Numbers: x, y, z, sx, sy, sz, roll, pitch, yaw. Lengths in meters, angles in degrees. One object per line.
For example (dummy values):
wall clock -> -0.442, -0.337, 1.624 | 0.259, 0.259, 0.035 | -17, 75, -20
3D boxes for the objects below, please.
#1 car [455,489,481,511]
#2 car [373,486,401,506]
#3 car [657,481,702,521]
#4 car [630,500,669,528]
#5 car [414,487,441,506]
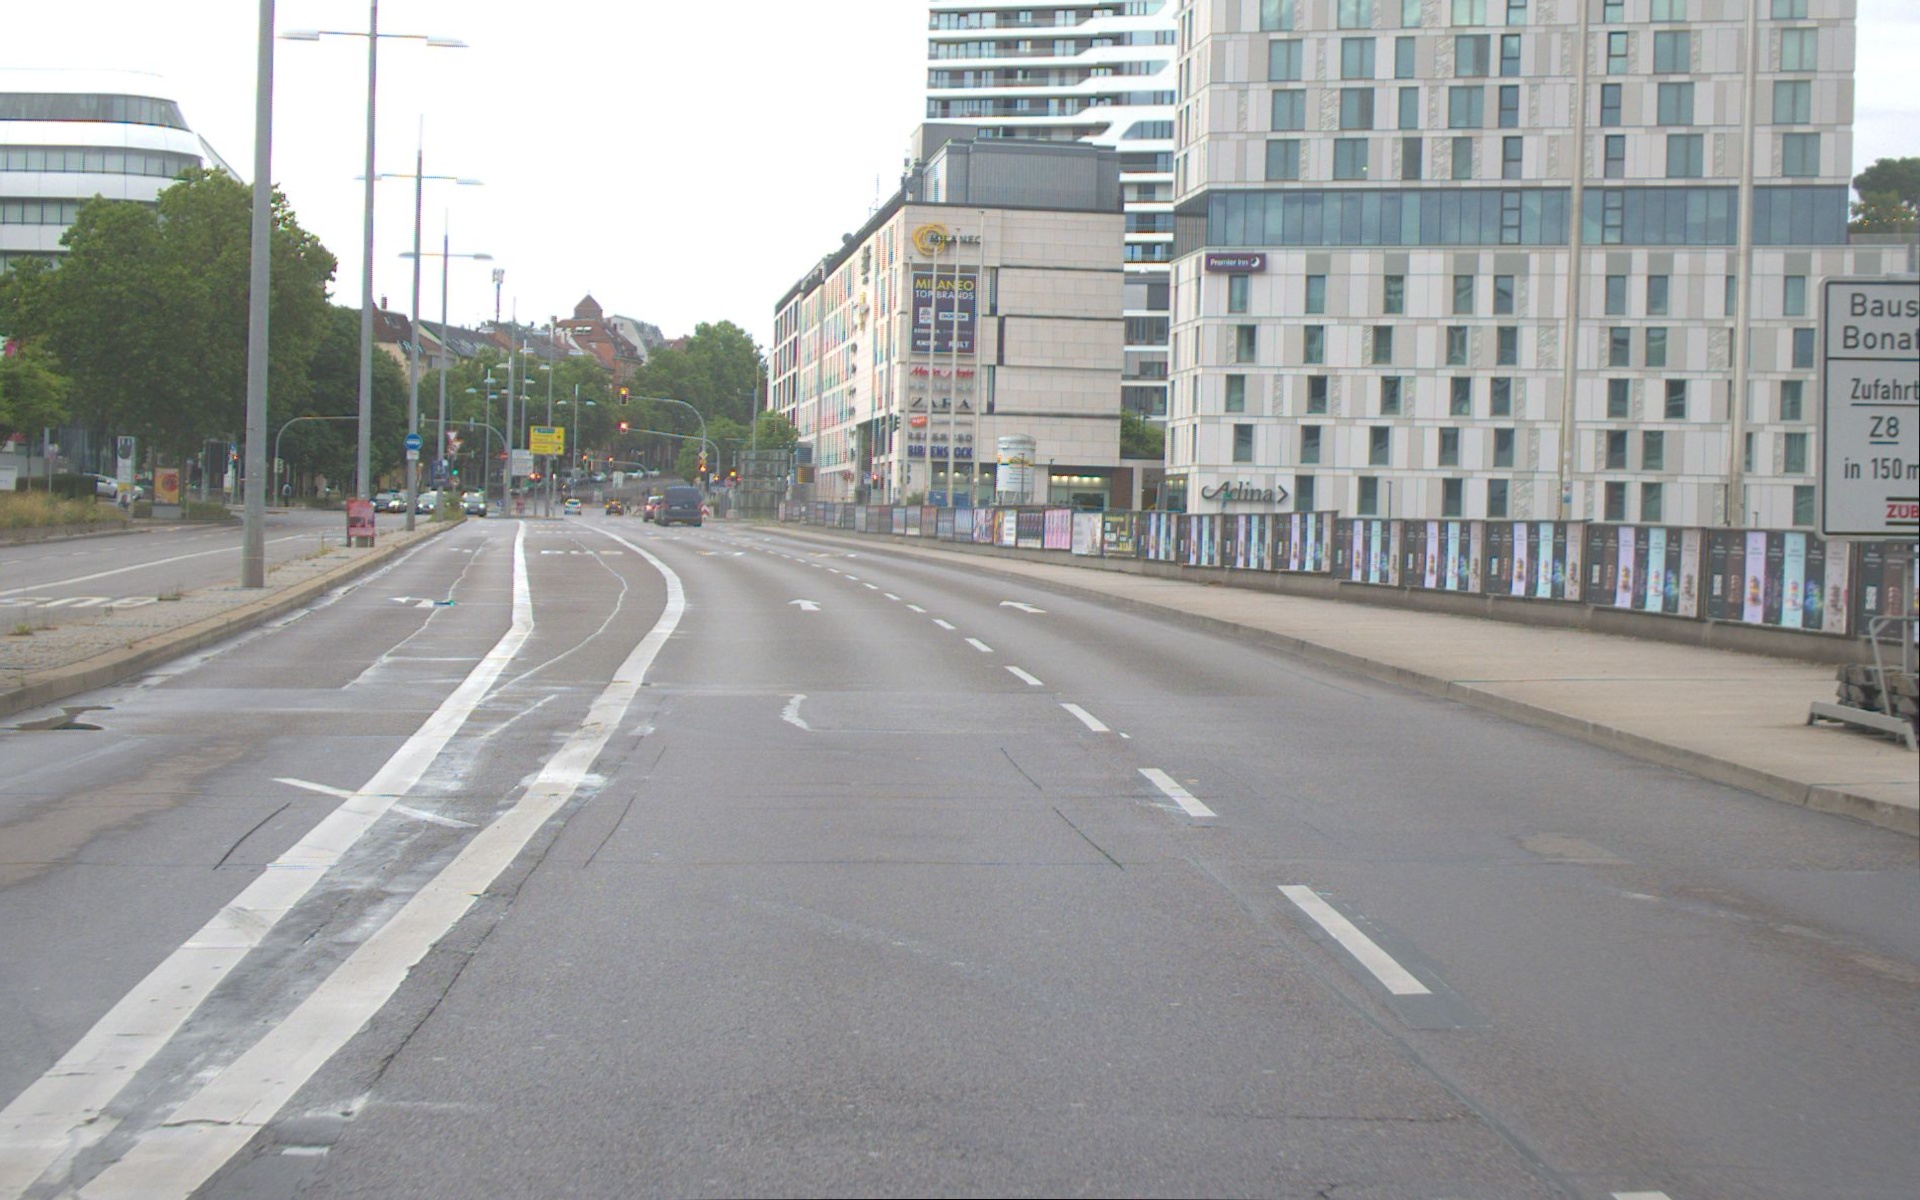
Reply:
car -> -34.416, -6.976, 240.712 | 1.743, 1.439, 3.396 | 1, 1, -7
car -> -40.207, -7.282, 241.164 | 1.743, 1.324, 4.226 | 1, 1, -7
car -> -14.024, -4.960, 171.610 | 2.032, 1.875, 5.043 | -2, 2, -7
car -> -17.769, -4.902, 196.670 | 1.739, 1.526, 3.815 | 1, 1, -12
car -> -37.459, -7.271, 241.775 | 1.743, 1.253, 3.541 | 2, 2, -7
